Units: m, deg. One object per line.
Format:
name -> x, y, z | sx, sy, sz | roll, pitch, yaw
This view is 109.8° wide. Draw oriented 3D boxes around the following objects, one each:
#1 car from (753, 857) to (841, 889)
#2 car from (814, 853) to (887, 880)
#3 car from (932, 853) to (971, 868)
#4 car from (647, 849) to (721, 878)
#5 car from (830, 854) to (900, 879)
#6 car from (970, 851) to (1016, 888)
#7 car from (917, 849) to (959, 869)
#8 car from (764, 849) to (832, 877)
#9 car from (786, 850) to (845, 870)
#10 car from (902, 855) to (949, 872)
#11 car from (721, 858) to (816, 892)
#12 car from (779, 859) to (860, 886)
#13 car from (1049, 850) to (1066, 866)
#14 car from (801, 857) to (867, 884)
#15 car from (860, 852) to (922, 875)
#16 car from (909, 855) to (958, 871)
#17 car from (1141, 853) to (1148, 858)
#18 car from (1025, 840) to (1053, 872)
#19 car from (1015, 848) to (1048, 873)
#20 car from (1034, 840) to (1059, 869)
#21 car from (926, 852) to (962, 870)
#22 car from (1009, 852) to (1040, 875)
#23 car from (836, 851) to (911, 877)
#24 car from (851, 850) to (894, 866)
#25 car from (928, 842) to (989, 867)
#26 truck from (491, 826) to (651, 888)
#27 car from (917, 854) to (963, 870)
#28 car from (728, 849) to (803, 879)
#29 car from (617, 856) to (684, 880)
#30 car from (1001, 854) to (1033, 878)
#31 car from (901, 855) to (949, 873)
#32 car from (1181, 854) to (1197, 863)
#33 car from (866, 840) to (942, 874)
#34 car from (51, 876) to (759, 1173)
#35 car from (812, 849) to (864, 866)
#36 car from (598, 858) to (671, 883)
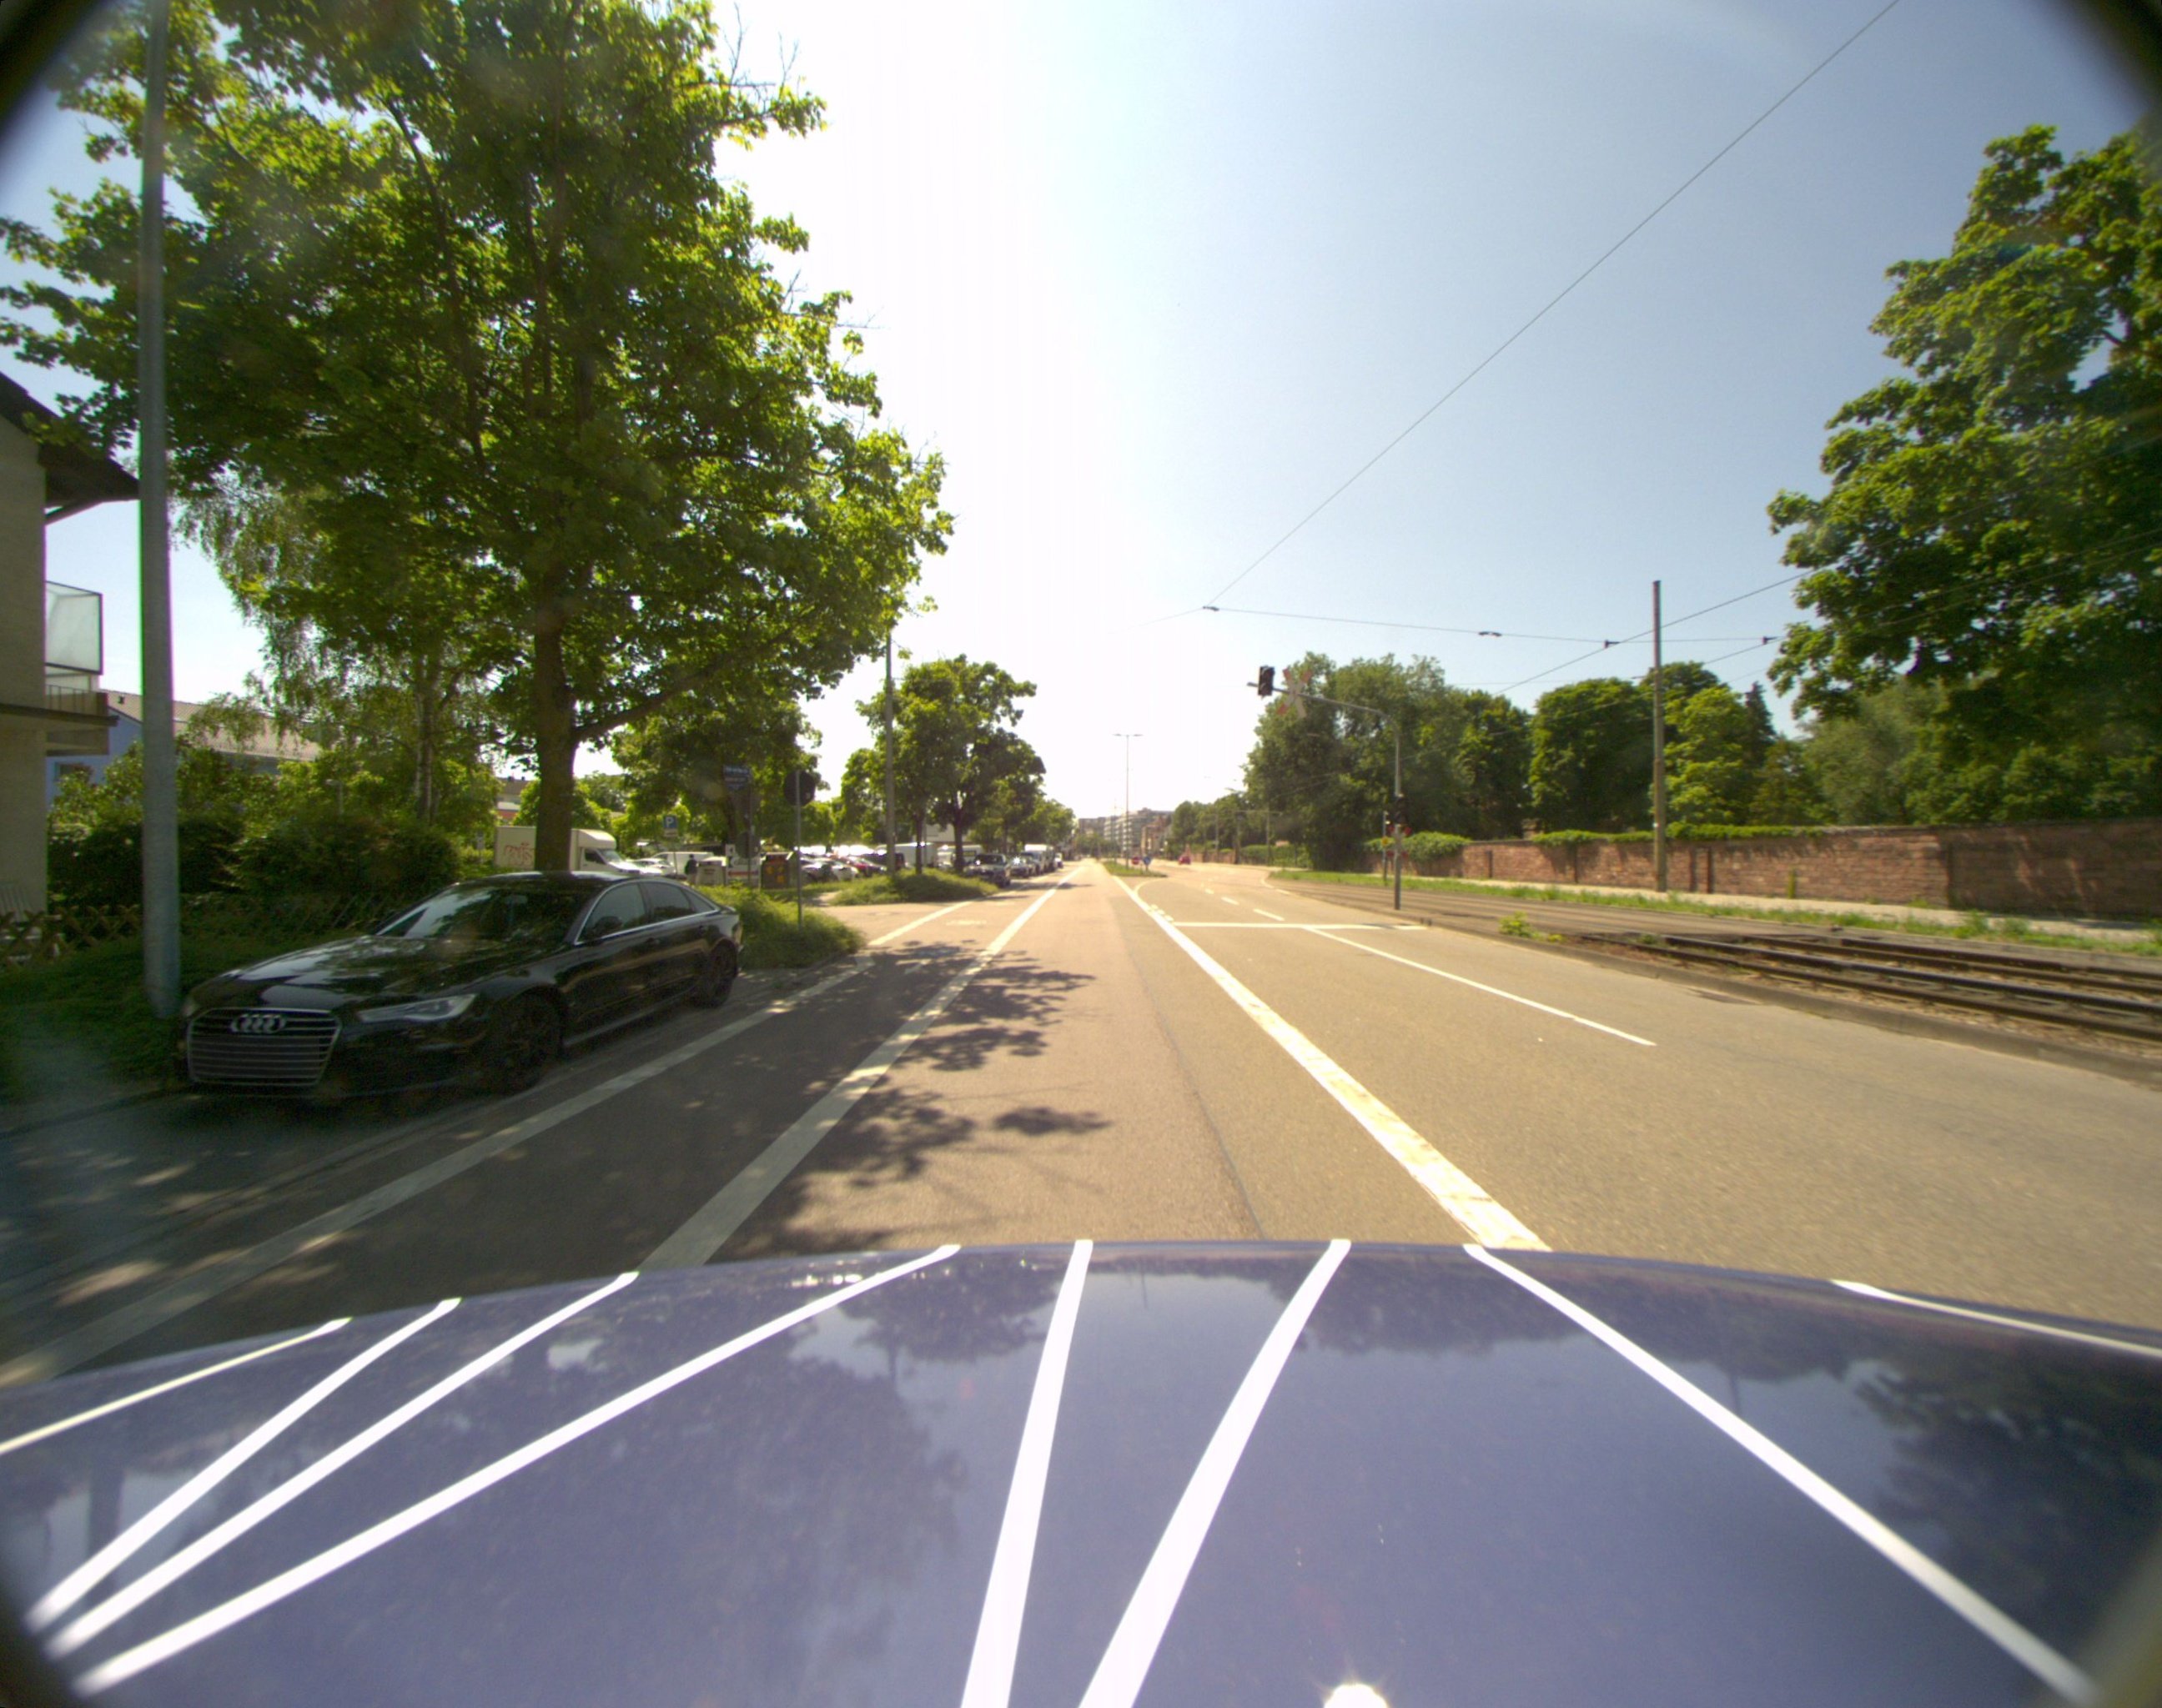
car -> -14.775, 0.970, 39.684 | 3.870, 1.481, 1.769 | -2, 0, -1
car -> -14.429, 0.787, 47.719 | 4.031, 1.482, 1.770 | -2, 0, -1
car -> -14.099, 0.751, 82.929 | 3.896, 1.463, 1.727 | -2, 0, -1
car -> -26.685, 0.627, 51.137 | 4.010, 1.797, 1.753 | 1, 0, -2
car -> -14.237, 0.816, 50.219 | 4.031, 1.482, 1.770 | -2, 0, -1
car -> -4.377, 0.723, 38.401 | 1.716, 1.623, 4.708 | 2, 1, 1
car -> -14.168, 0.503, 75.189 | 3.790, 1.774, 1.953 | -2, 0, -3
car -> -26.319, 0.854, 70.726 | 5.503, 2.445, 2.095 | 1, 1, 2
car -> -26.469, 0.572, 75.746 | 5.108, 1.865, 2.095 | 1, 0, 2
car -> -14.150, 0.857, 69.336 | 3.896, 1.398, 1.727 | -2, 0, -1
car -> -15.281, 0.997, 37.337 | 3.870, 1.481, 1.769 | -2, 0, -1
car -> -14.601, 1.024, 42.523 | 3.869, 1.350, 1.770 | -2, 0, 2
car -> -3.002, 0.534, 97.755 | 1.884, 1.905, 5.125 | 2, 0, 2
car -> -14.697, 0.954, 45.290 | 3.342, 1.420, 1.682 | -2, 0, 2
car -> -13.938, 0.695, 55.820 | 4.031, 1.482, 1.770 | -2, 0, -1
car -> -13.982, 0.831, 72.056 | 4.287, 1.398, 1.727 | -2, 0, -1
car -> 20.080, 0.428, 241.128 | 1.845, 1.408, 5.034 | -3, 0, 1
car -> -3.724, 0.189, 68.243 | 2.002, 2.621, 6.143 | 2, 0, 1
car -> -3.924, 0.495, 61.309 | 2.002, 1.867, 5.276 | 2, 0, 3
car -> -3.360, 0.068, 74.988 | 2.002, 2.621, 6.078 | 2, 0, 1
car -> -14.495, 0.745, 80.496 | 3.380, 1.707, 1.728 | -2, 0, 1
car -> -4.113, 0.672, 55.595 | 1.716, 1.532, 3.840 | 2, 0, 3
car -> -14.508, 0.683, 53.288 | 4.703, 1.635, 1.954 | -2, 0, 2
car -> -26.423, 0.522, 96.456 | 4.929, 1.889, 1.909 | 1, 0, 0
car -> -13.755, 0.093, 85.764 | 6.355, 2.514, 2.264 | -2, 0, 4
truck -> -27.429, 0.152, 41.086 | 6.964, 3.067, 2.424 | 1, 1, 0
car -> -14.397, 0.831, 77.789 | 4.418, 1.496, 1.954 | -2, 0, -2
car -> -26.854, 0.838, 64.766 | 5.503, 2.445, 2.095 | 1, 1, 2
car -> -27.611, 0.903, 48.827 | 3.342, 1.420, 1.682 | 1, 0, 3
car -> -4.204, 0.760, 50.462 | 1.717, 1.410, 4.708 | 2, 0, -1
car -> -13.733, 0.873, 67.062 | 3.897, 1.398, 1.727 | -2, 0, -4
car -> 17.604, 0.650, 123.374 | 1.708, 1.405, 4.287 | 0, 0, 20
car -> -14.181, 0.249, 61.115 | 5.503, 2.445, 2.095 | -2, 1, 2
car -> -4.715, 1.008, 6.570 | 1.845, 1.427, 4.823 | 2, 0, -1
car -> -27.581, 0.392, 86.195 | 5.166, 1.742, 2.095 | 1, 0, 2
car -> -27.113, 0.990, 46.207 | 3.473, 1.420, 1.682 | 1, 0, 3
